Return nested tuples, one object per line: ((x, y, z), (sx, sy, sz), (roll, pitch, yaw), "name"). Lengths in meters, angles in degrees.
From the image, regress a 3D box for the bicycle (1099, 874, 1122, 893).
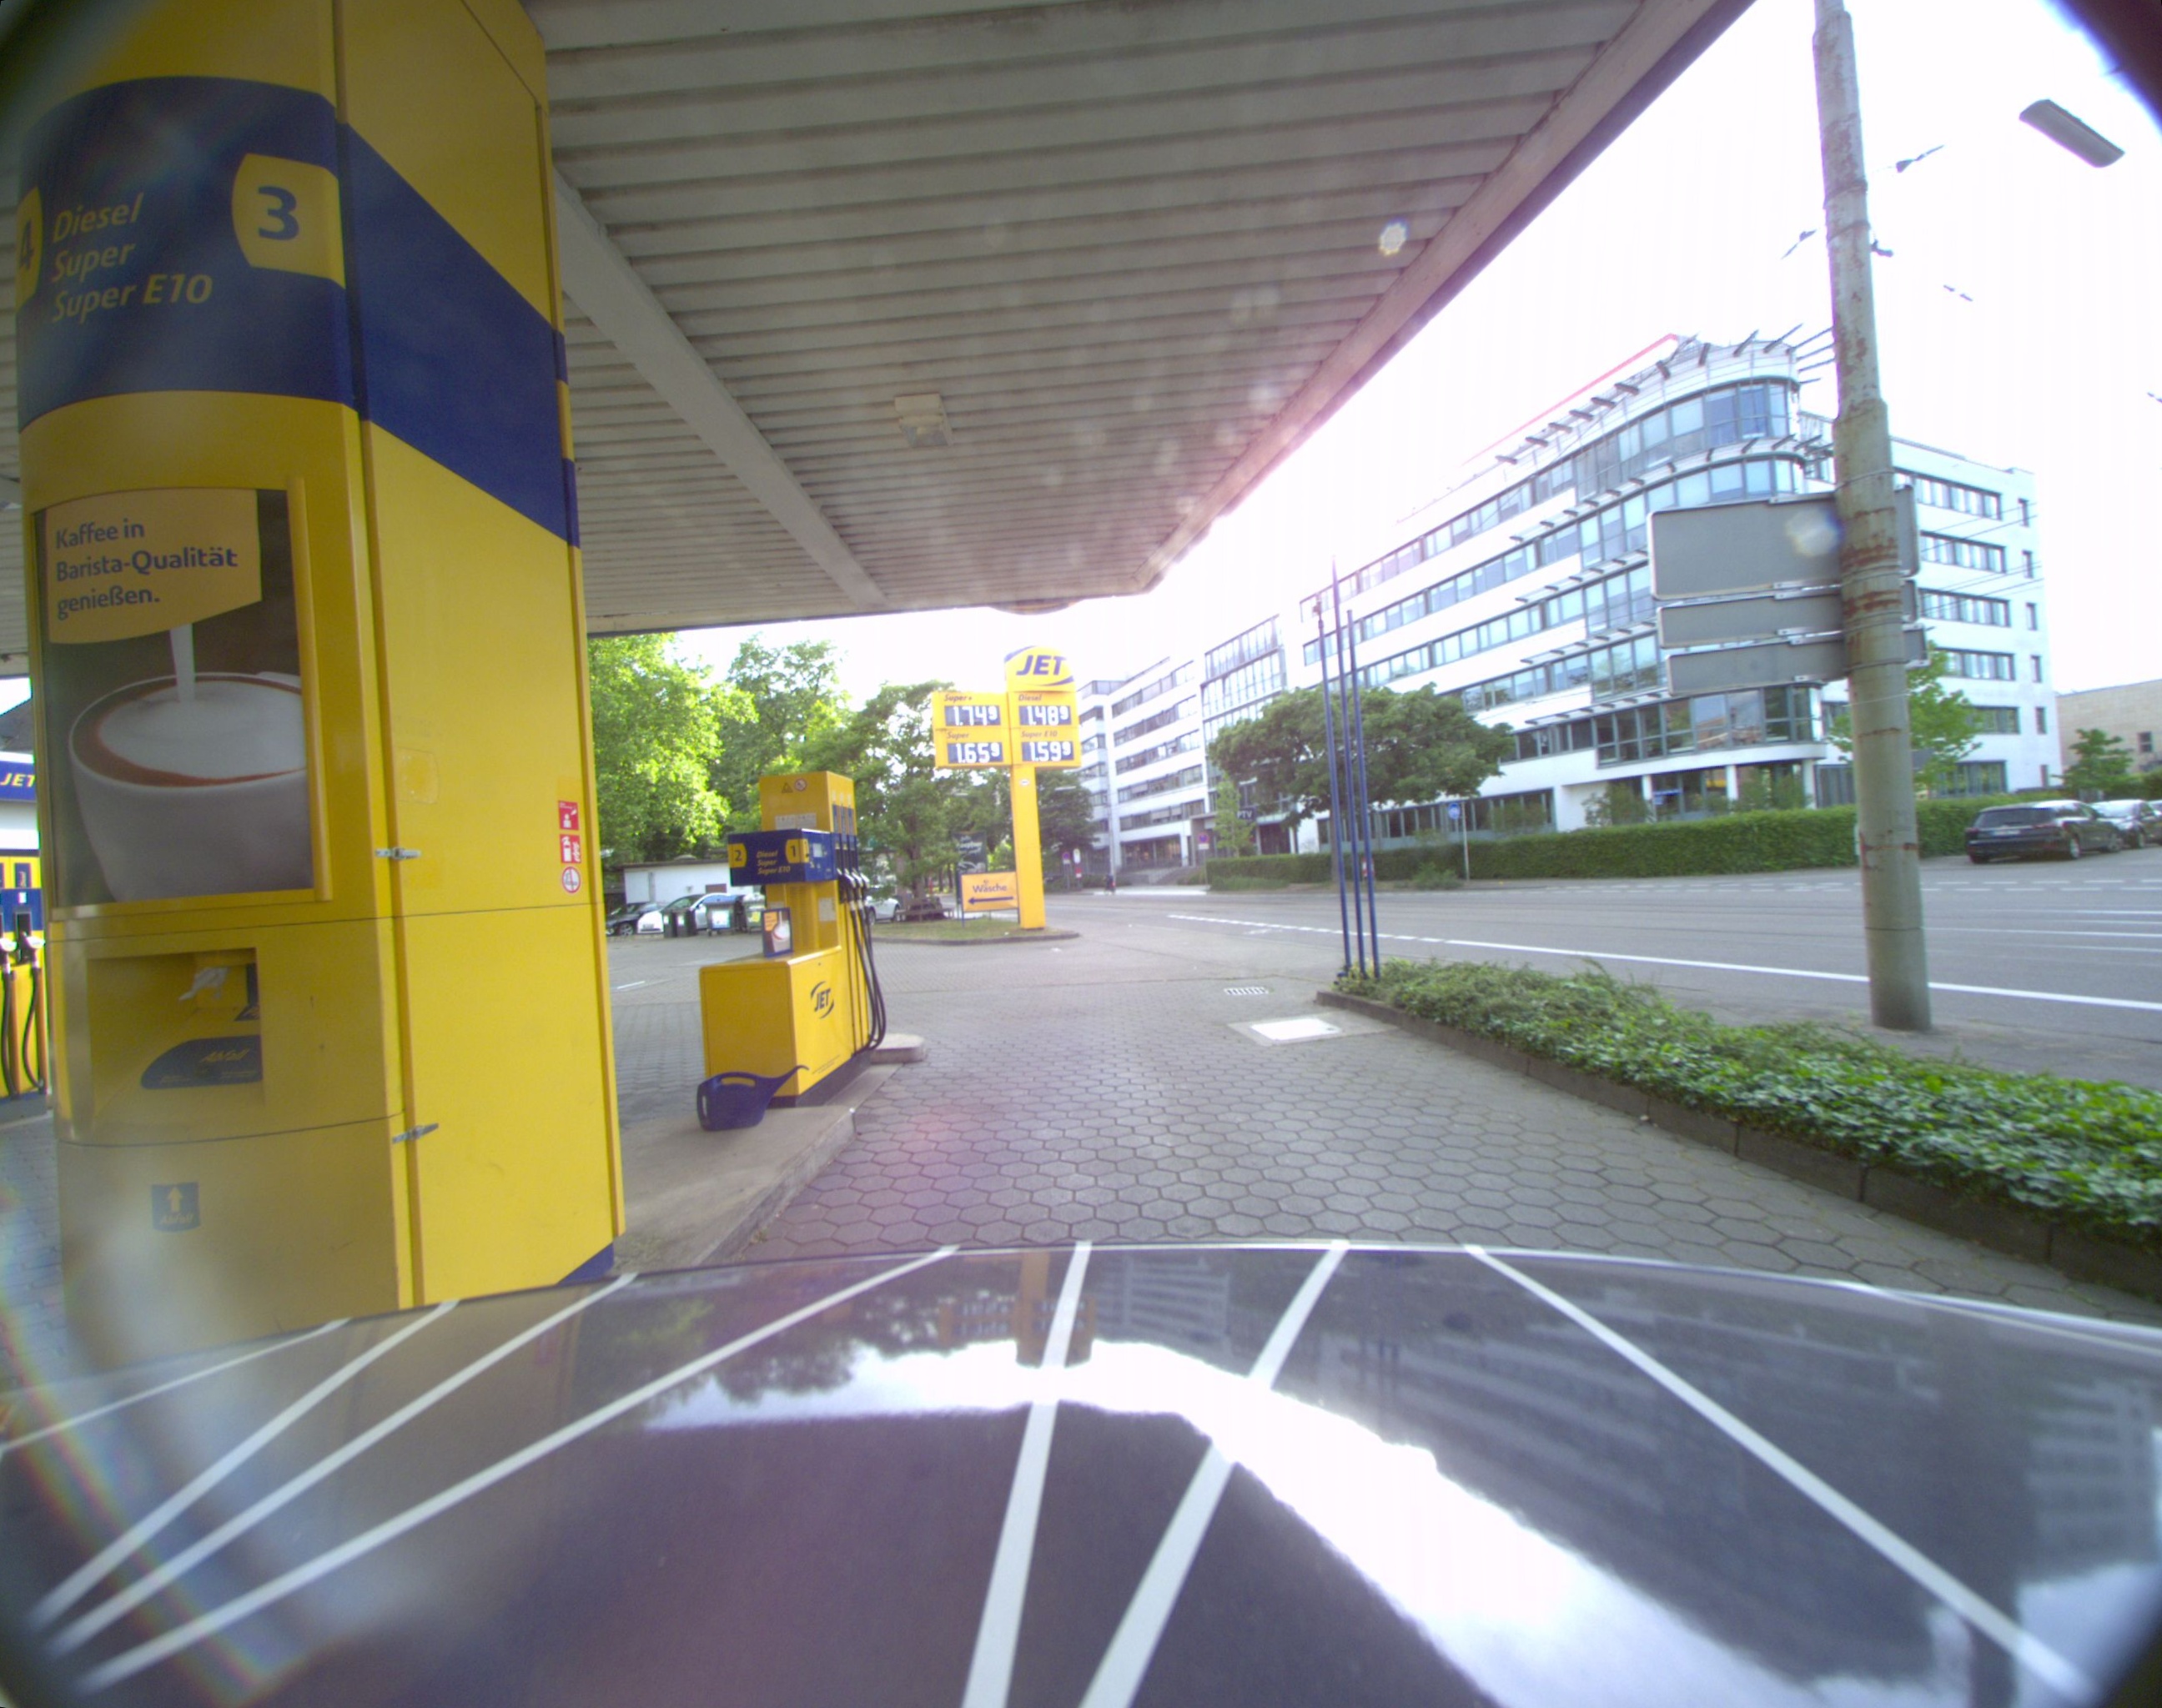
((2.046, 2.042, 53.009), (0.792, 1.232, 1.879), (-3, 1, -24), "bicycle")

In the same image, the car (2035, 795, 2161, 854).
((32.576, -0.963, 24.070), (4.201, 1.568, 1.820), (-4, -1, -24), "car")

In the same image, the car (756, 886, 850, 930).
((-11.746, 2.261, 32.468), (1.823, 1.575, 4.200), (-4, -2, 10), "car")

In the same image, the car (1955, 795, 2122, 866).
((27.418, -0.673, 21.760), (4.397, 1.678, 1.820), (-4, -1, -24), "car")

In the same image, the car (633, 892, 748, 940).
((-15.389, 2.409, 30.256), (1.823, 1.575, 4.200), (-4, -2, 10), "car")

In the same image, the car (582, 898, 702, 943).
((-17.533, 2.627, 30.611), (1.823, 1.426, 4.200), (-4, -2, 10), "car")

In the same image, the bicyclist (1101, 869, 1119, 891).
((2.010, 1.791, 53.033), (0.792, 1.443, 1.174), (-3, 1, -24), "bicyclist")

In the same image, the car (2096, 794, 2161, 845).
((37.105, -1.258, 26.018), (4.201, 1.568, 1.820), (-4, -1, -24), "car")

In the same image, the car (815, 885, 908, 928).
((-8.656, 2.043, 30.381), (1.823, 1.449, 4.200), (-4, -2, 10), "car")
